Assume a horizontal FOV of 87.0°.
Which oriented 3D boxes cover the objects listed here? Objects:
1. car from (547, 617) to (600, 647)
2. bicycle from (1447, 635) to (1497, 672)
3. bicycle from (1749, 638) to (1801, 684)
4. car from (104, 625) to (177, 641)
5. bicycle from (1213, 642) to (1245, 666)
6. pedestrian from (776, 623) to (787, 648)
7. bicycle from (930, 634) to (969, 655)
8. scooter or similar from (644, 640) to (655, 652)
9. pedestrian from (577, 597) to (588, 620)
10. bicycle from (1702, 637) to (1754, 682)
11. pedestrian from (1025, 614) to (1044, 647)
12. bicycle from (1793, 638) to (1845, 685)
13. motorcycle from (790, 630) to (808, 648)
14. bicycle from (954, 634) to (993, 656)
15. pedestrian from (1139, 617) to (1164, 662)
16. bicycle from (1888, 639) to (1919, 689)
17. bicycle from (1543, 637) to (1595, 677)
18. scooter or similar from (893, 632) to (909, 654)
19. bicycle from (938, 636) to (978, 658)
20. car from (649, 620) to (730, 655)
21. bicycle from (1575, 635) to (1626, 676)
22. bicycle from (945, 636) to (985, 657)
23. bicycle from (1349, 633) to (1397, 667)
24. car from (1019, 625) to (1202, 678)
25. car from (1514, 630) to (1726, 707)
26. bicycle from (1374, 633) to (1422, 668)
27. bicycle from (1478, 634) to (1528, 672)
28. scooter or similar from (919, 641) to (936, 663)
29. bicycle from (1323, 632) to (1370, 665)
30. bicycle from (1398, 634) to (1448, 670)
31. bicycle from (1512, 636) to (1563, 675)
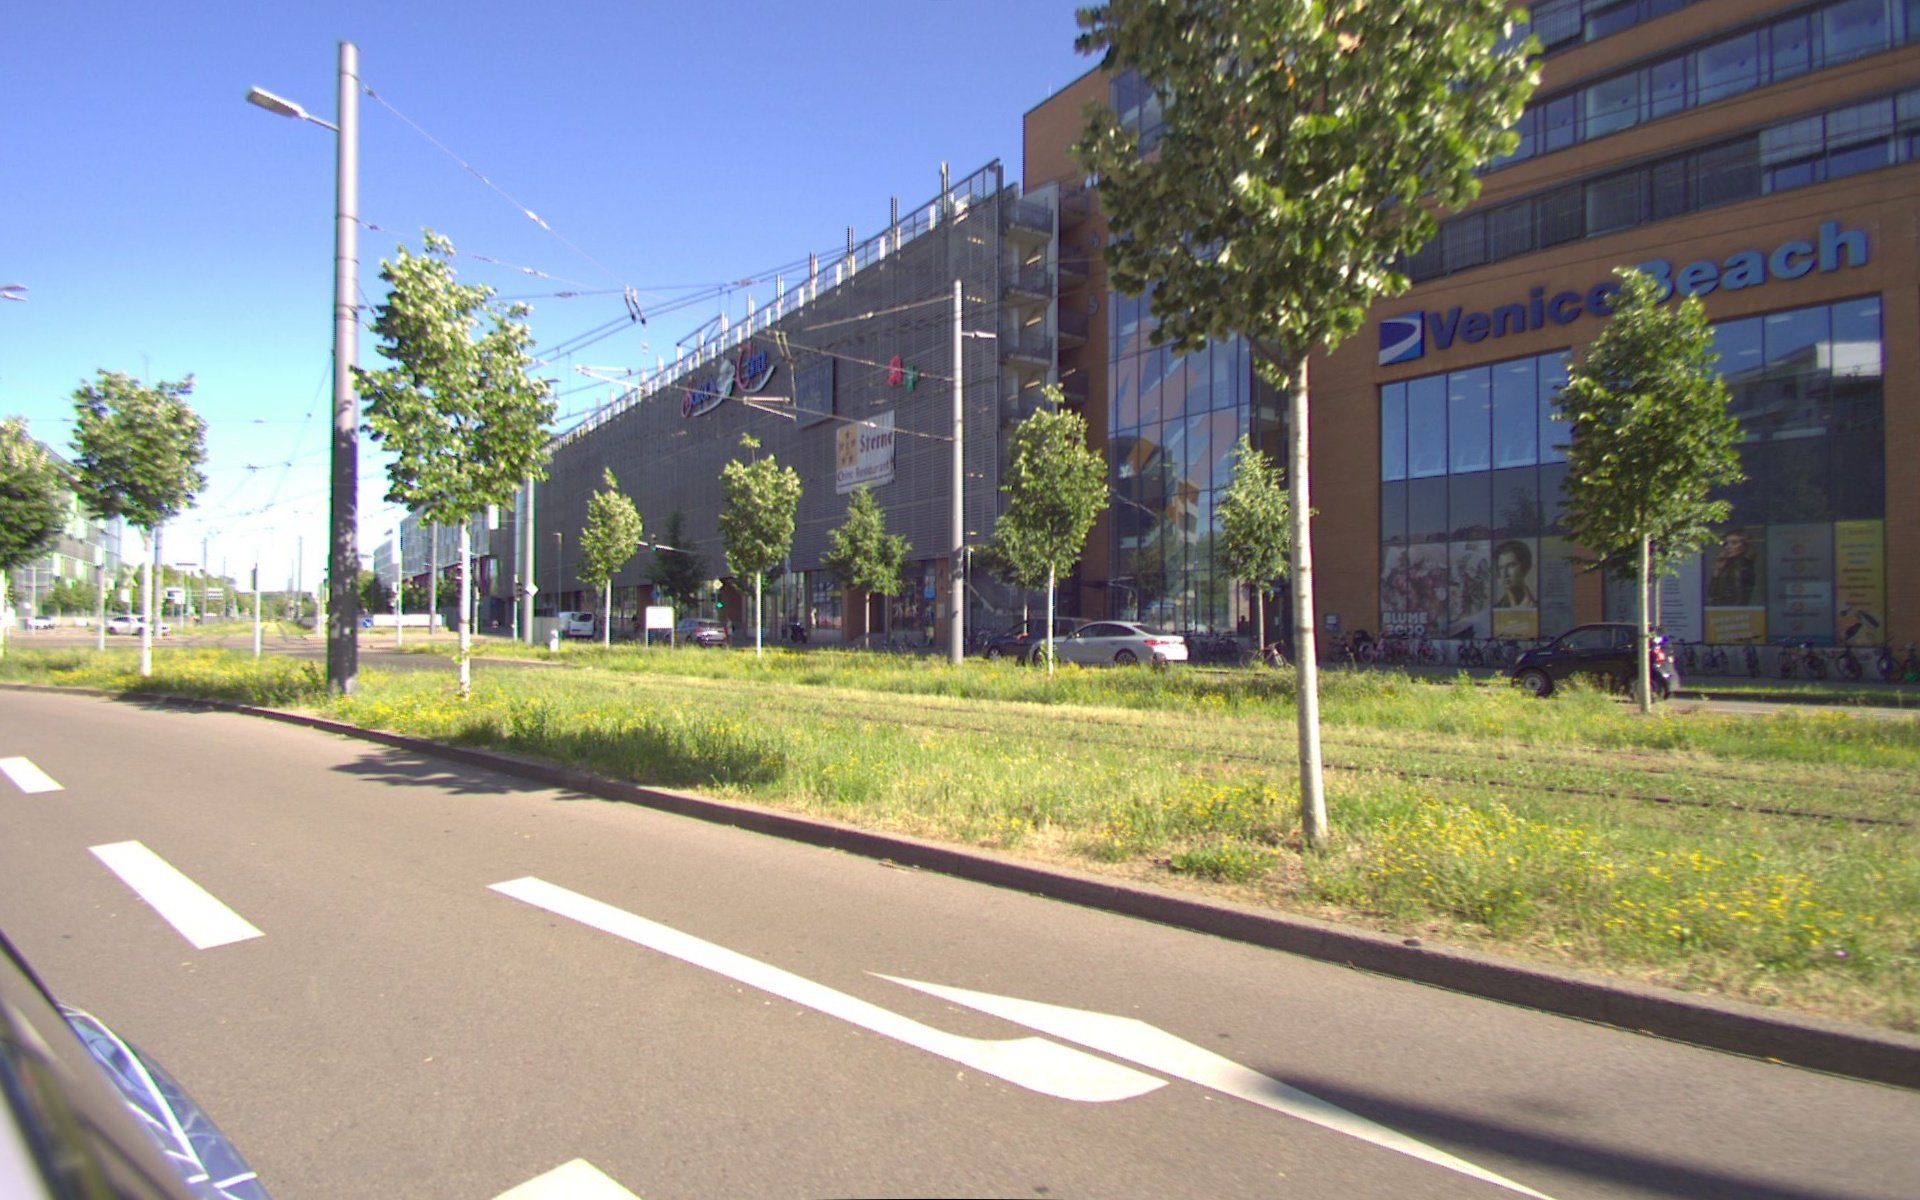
[{"bbox_3d":[-27.081,2.224,70.788,2.191,2.029,5.268,1,-2,-35],"label":"car"},{"bbox_3d":[17.016,1.764,33.611,2.147,1.132,0.754,0,-1,-42],"label":"bicycle"},{"bbox_3d":[21.970,1.618,27.277,2.147,1.132,0.754,0,-1,-42],"label":"bicycle"},{"bbox_3d":[-57.904,2.310,71.544,3.958,1.098,1.993,0,-1,12],"label":"car"},{"bbox_3d":[10.060,2.002,37.821,1.429,0.825,0.446,0,-1,-42],"label":"bicycle"},{"bbox_3d":[-10.939,2.182,62.001,0.483,1.530,0.651,1,-2,-32],"label":"pedestrian"},{"bbox_3d":[-0.518,2.188,49.793,2.147,0.962,0.493,0,-1,-42],"label":"bicycle"},{"bbox_3d":[-21.735,3.203,70.810,0.296,0.857,1.229,1,-2,-39],"label":"scooter or similar"},{"bbox_3d":[-29.346,0.690,78.664,0.624,1.764,0.582,-1,-2,35],"label":"pedestrian"},{"bbox_3d":[21.293,1.628,28.042,2.147,1.132,0.754,0,-1,-42],"label":"bicycle"},{"bbox_3d":[3.540,1.443,48.284,0.626,1.565,0.663,1,-2,-30],"label":"pedestrian"},{"bbox_3d":[22.500,1.584,26.485,2.147,1.132,0.754,0,-1,-42],"label":"bicycle"},{"bbox_3d":[-9.917,2.382,62.206,0.395,1.046,1.623,1,-2,-35],"label":"motorcycle"},{"bbox_3d":[0.662,2.159,48.571,2.147,0.962,0.493,0,-1,-42],"label":"bicycle"},{"bbox_3d":[7.417,1.519,39.155,0.778,1.698,0.589,-1,-2,40],"label":"pedestrian"},{"bbox_3d":[23.640,1.569,25.059,2.147,1.132,0.754,0,-1,-42],"label":"bicycle"},{"bbox_3d":[18.798,1.726,31.218,2.147,1.132,0.754,0,-1,-42],"label":"bicycle"},{"bbox_3d":[-3.207,2.344,55.092,0.272,1.111,1.209,1,0,-34],"label":"scooter or similar"},{"bbox_3d":[-0.089,2.281,49.420,2.147,0.962,0.493,0,-1,-42],"label":"bicycle"},{"bbox_3d":[-13.871,1.899,51.839,4.540,1.694,1.971,-1,-2,44],"label":"car"},{"bbox_3d":[19.292,1.662,30.460,2.147,1.132,0.754,0,-1,-42],"label":"bicycle"},{"bbox_3d":[0.250,2.232,49.013,2.147,0.962,0.493,0,-1,-42],"label":"bicycle"},{"bbox_3d":[15.011,1.808,36.723,2.147,1.132,0.754,0,-1,-42],"label":"bicycle"},{"bbox_3d":[4.126,1.382,28.229,4.789,1.344,1.972,-1,-2,43],"label":"car"},{"bbox_3d":[12.824,1.276,19.763,3.294,1.370,1.413,-1,-2,42],"label":"car"},{"bbox_3d":[15.528,1.776,35.852,2.147,1.132,0.754,0,-1,-42],"label":"bicycle"},{"bbox_3d":[17.601,1.711,32.783,2.147,1.132,0.754,0,-1,-42],"label":"bicycle"},{"bbox_3d":[-1.683,2.701,52.761,0.272,1.111,1.209,1,0,-34],"label":"scooter or similar"},{"bbox_3d":[14.368,1.800,37.588,2.147,1.132,0.754,0,-1,-42],"label":"bicycle"},{"bbox_3d":[15.992,1.776,34.922,2.147,1.132,0.754,0,-1,-42],"label":"bicycle"},{"bbox_3d":[18.247,1.719,31.963,2.147,1.132,0.754,0,-1,-42],"label":"bicycle"}]
